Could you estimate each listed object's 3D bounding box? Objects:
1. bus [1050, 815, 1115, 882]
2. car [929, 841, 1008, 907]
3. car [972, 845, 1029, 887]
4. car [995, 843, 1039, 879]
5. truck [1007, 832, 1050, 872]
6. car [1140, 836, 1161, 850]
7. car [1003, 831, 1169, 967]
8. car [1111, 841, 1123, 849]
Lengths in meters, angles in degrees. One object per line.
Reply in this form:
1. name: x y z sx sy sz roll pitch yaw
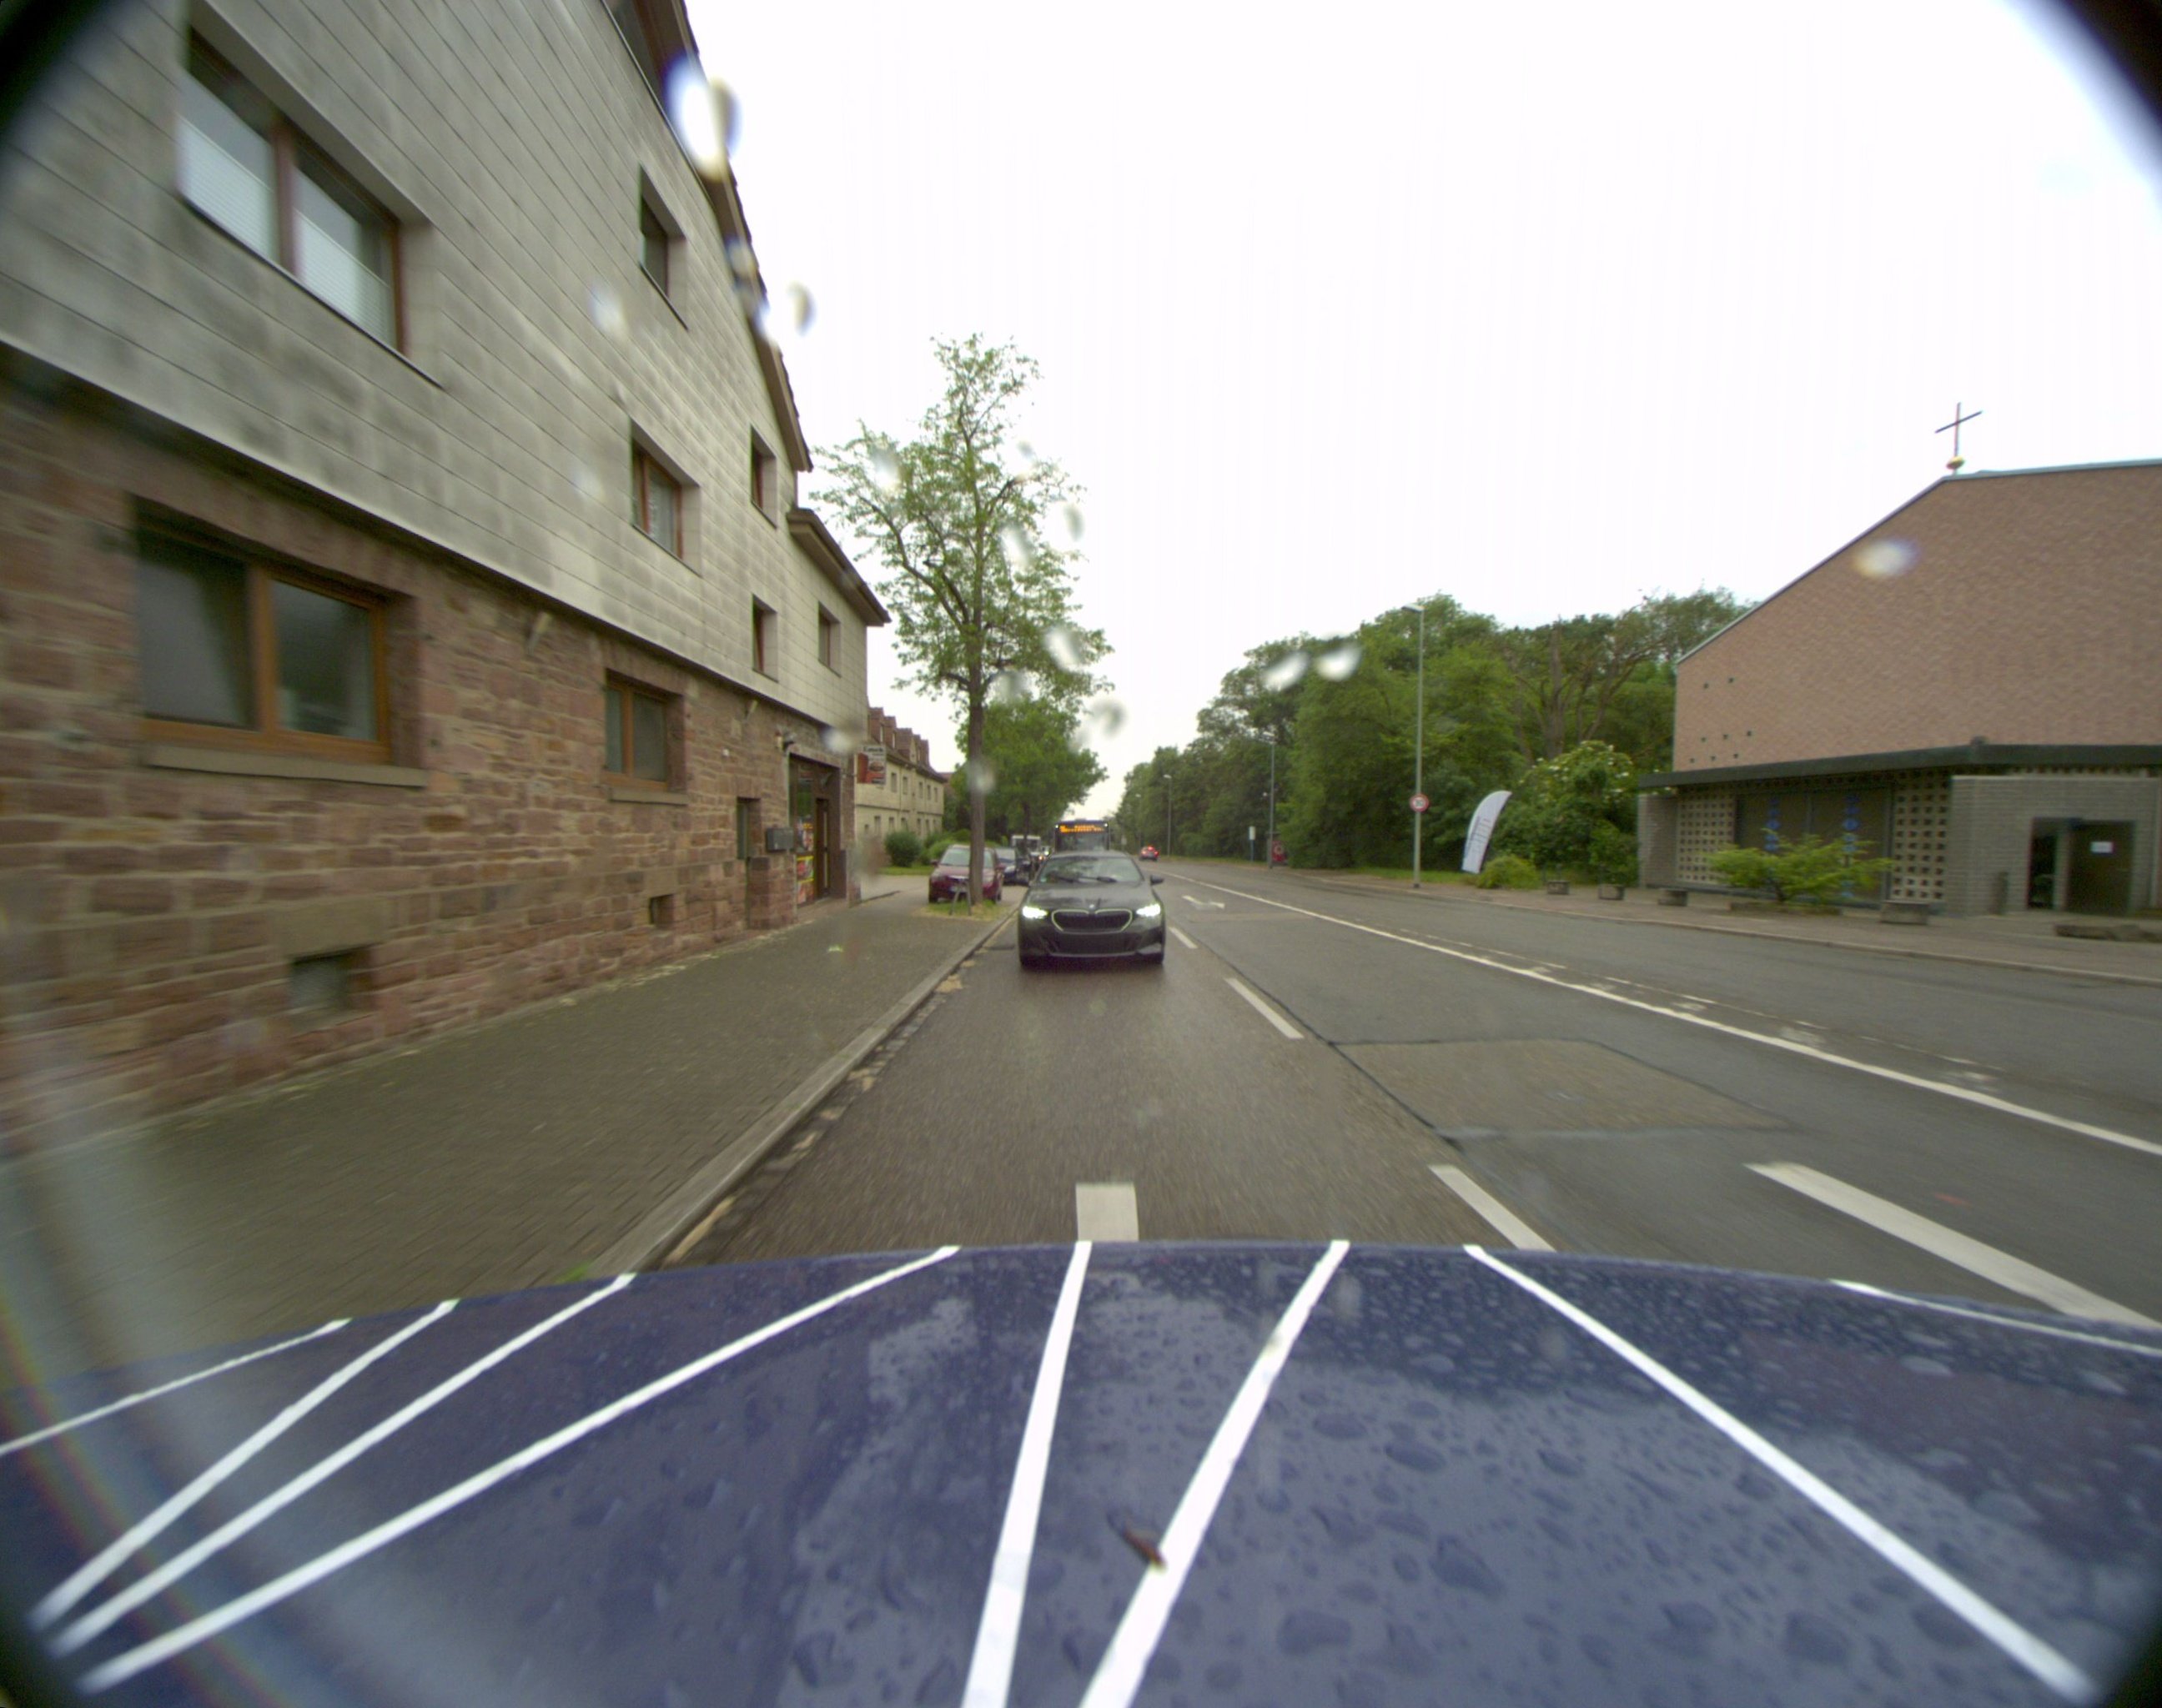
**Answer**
1. bus: 0.182 -0.400 37.800 2.767 2.859 9.401 -1 2 1
2. car: -2.836 0.477 19.796 1.615 1.495 3.756 -2 0 -2
3. car: -3.084 0.413 29.810 1.720 1.416 3.999 2 2 0
4. car: -2.928 0.286 35.292 1.720 1.456 3.998 2 2 -1
5. truck: -3.062 -0.154 45.209 1.998 2.184 5.755 1 1 1
6. car: 8.196 -1.302 90.106 1.913 1.582 4.315 1 1 -3
7. car: 0.073 0.478 11.048 1.882 1.520 4.315 -2 1 0
8. car: 7.149 -1.753 151.157 1.915 1.446 4.946 4 2 -1
